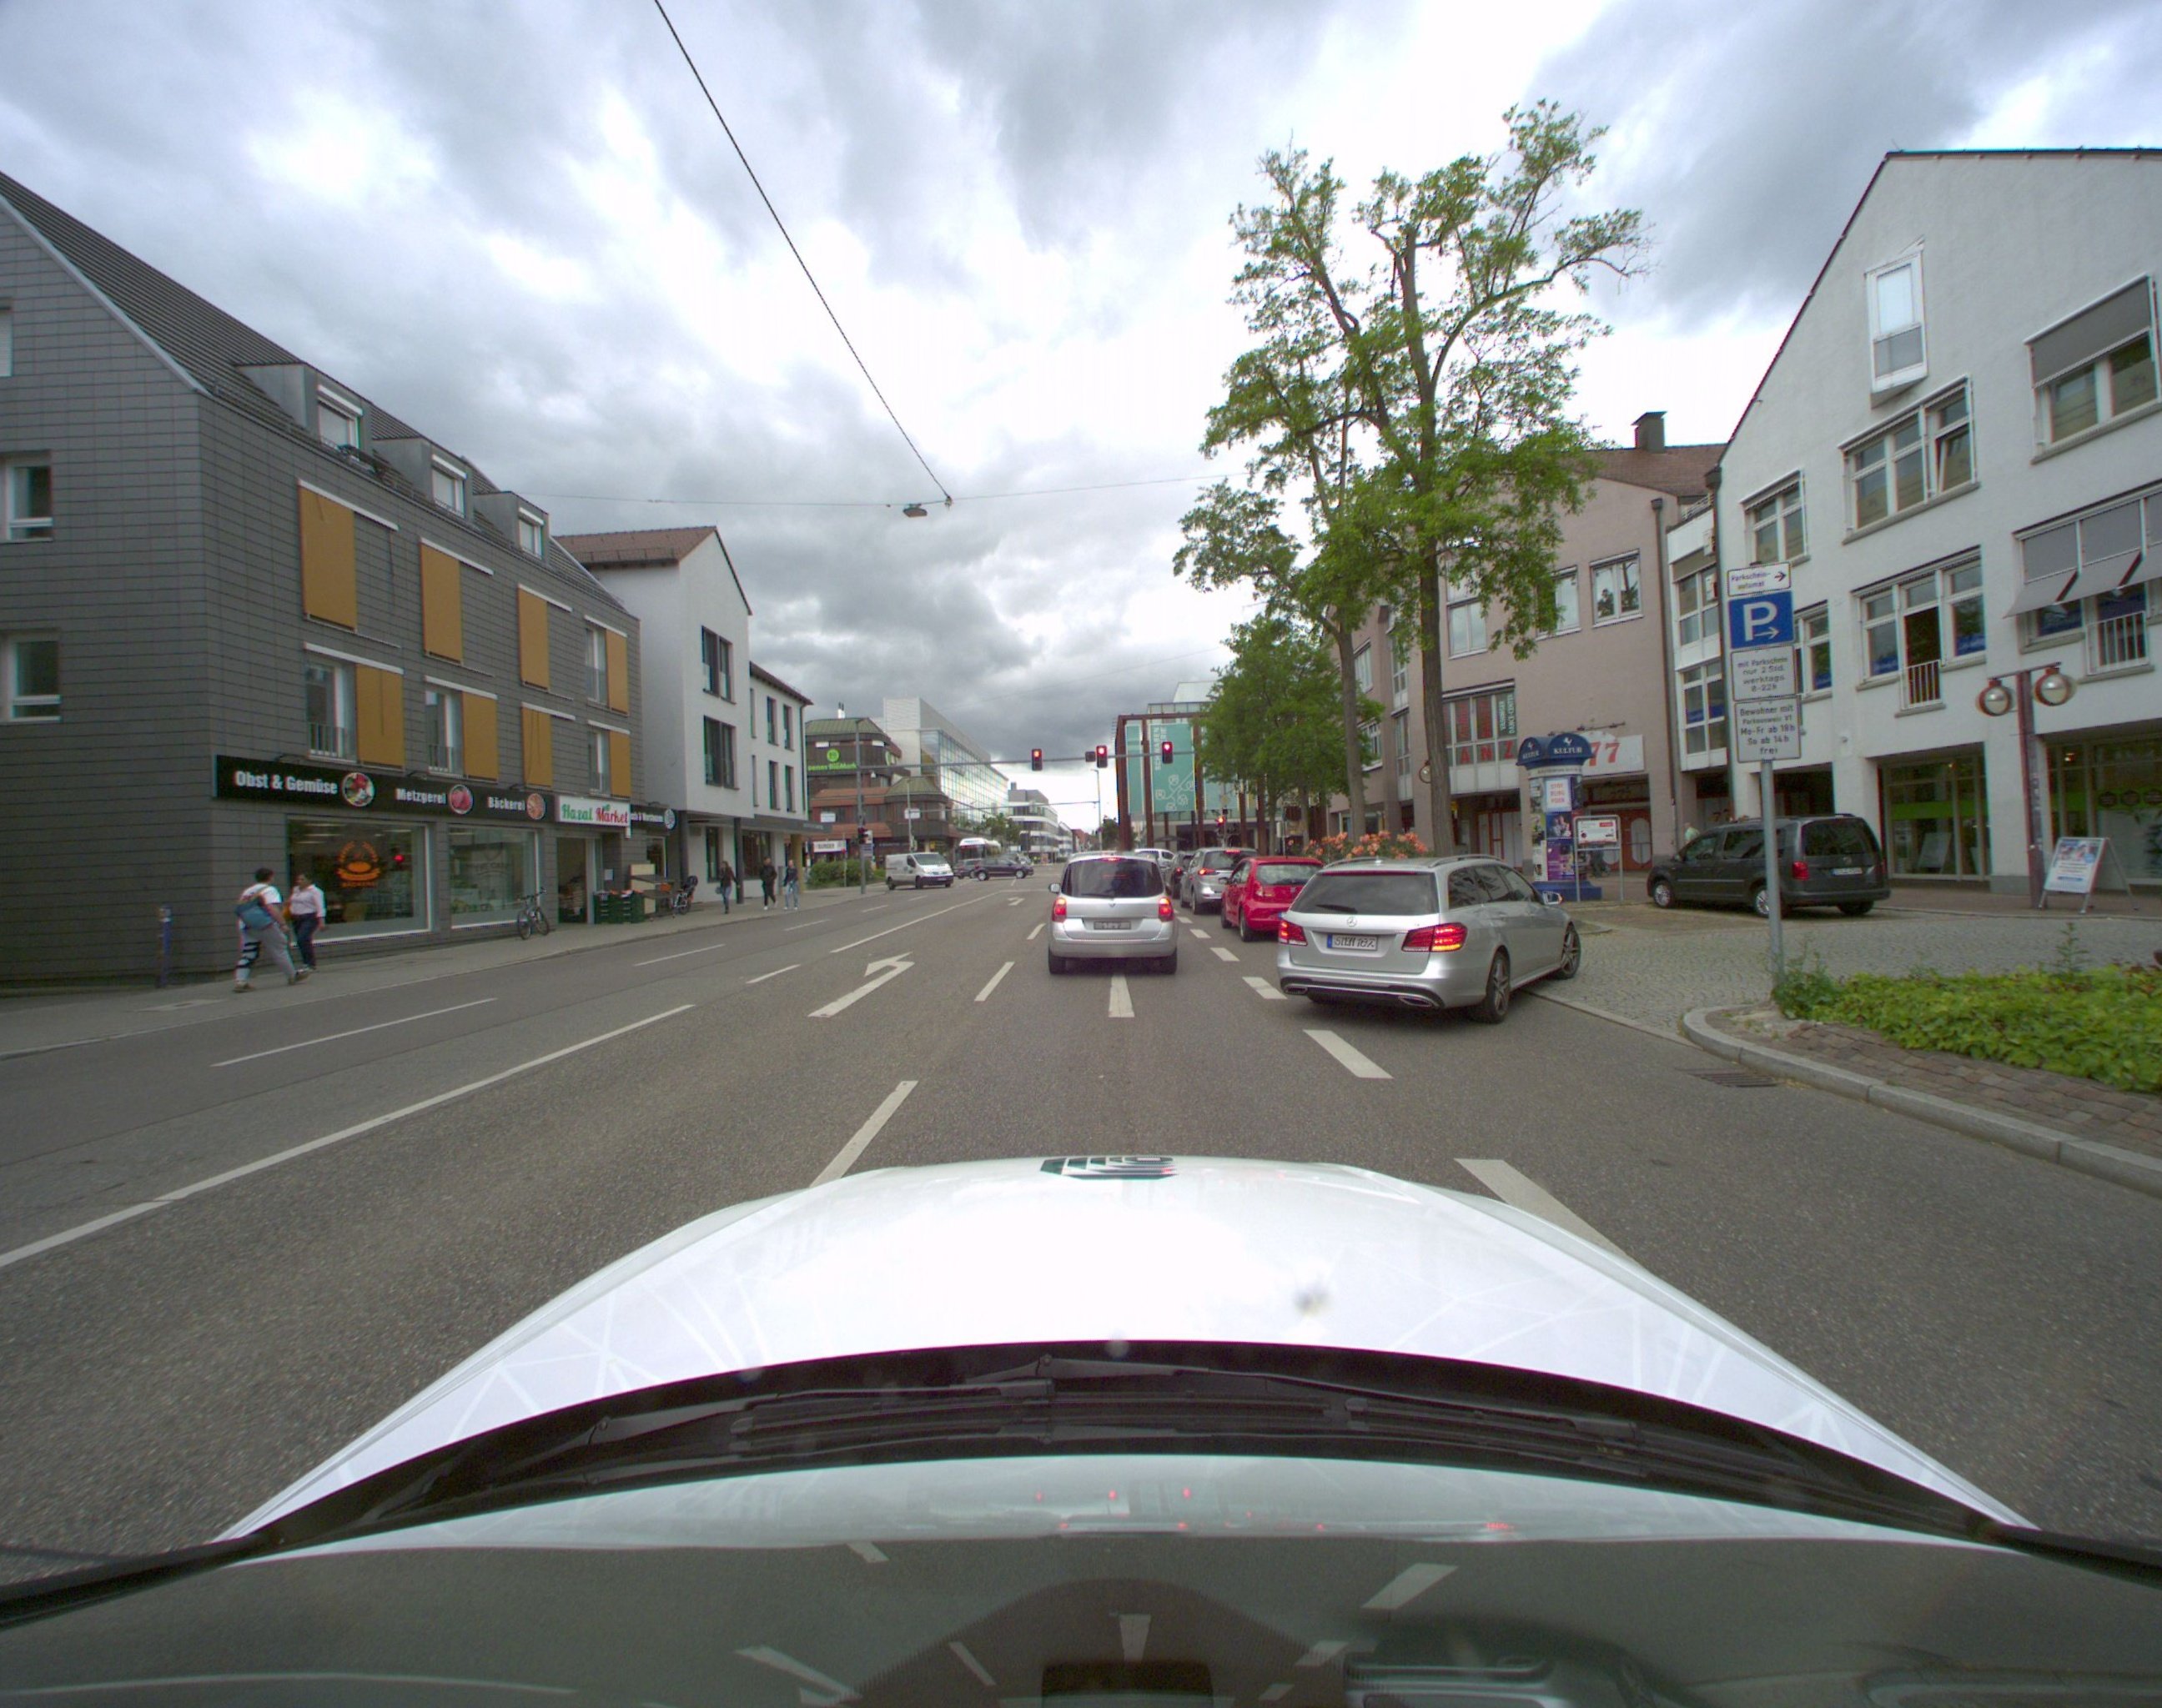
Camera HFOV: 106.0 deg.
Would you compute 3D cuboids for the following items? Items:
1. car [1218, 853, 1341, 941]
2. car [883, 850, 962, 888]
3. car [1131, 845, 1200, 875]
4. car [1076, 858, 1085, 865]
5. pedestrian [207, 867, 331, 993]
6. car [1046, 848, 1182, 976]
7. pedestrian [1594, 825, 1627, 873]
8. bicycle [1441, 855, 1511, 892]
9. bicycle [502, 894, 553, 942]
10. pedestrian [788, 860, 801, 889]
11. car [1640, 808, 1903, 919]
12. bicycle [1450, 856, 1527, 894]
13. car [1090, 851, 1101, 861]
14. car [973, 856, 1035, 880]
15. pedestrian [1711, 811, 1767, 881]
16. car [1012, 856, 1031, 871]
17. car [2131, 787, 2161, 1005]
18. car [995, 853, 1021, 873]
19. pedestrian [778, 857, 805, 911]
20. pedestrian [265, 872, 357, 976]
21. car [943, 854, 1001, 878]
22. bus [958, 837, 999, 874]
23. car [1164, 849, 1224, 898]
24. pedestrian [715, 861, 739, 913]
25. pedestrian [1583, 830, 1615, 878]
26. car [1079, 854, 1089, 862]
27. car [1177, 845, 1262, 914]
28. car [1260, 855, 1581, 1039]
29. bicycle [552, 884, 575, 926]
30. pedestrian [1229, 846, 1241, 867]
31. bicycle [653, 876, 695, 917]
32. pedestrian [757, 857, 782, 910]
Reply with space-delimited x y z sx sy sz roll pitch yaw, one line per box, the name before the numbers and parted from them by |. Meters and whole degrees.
car | 3.572 0.714 15.190 1.580 1.443 3.350 0 0 2
car | -8.773 0.847 44.727 2.010 1.888 5.098 -3 0 -40
car | 5.515 0.381 53.279 4.369 1.773 1.328 -2 0 1
car | -0.100 1.835 200.314 1.793 1.540 4.068 -2 0 3
pedestrian | -11.625 1.055 11.697 0.751 1.705 0.981 1 0 1
car | 0.452 0.701 11.575 1.634 1.527 3.395 -1 0 2
pedestrian | 17.387 -0.166 26.739 0.666 1.563 0.616 -2 0 -28
bicycle | 11.373 0.564 23.477 1.760 0.997 0.447 -2 0 5
bicycle | -12.495 1.422 18.410 0.325 0.954 1.479 -2 0 -9
pedestrian | -17.092 1.212 48.538 0.664 1.649 0.788 -2 0 -20
car | 13.236 0.151 15.979 1.633 1.831 3.963 -3 0 -3
bicycle | 11.455 0.596 22.920 1.892 0.997 0.468 -2 0 5
car | 2.867 0.354 158.673 1.987 1.949 4.951 -2 0 1
car | -5.050 0.897 53.693 3.815 1.389 1.685 -2 0 2
pedestrian | 17.593 -0.207 21.786 0.786 1.793 0.819 -2 0 1
car | -6.093 0.946 83.556 1.550 1.392 3.288 -2 0 1
car | 10.221 0.309 4.872 1.874 1.876 4.605 -3 0 0
car | -6.796 0.809 76.320 1.987 1.706 4.065 -2 0 1
pedestrian | -9.881 1.009 27.804 0.681 1.790 0.647 -2 0 -9
pedestrian | -12.528 1.119 13.275 0.725 1.610 0.753 -2 0 2
car | -8.506 0.919 63.839 1.898 1.677 4.269 -2 0 39
bus | -9.830 0.151 79.002 2.677 3.261 8.654 -2 0 1
car | 3.852 0.630 28.246 1.581 1.595 3.868 0 0 0
pedestrian | -11.427 1.062 26.314 0.654 1.650 0.555 -2 0 -22
pedestrian | 16.775 0.011 26.380 0.613 1.515 0.616 -2 0 -28
car | 0.610 0.778 160.819 1.793 1.540 4.068 -2 0 3
car | 3.524 0.615 21.304 1.581 1.634 3.916 0 0 0
car | 3.809 0.739 8.651 1.798 1.448 4.396 0 0 42
bicycle | -14.483 1.408 22.780 0.389 1.127 1.275 -2 0 -39
pedestrian | 11.999 0.203 63.514 0.652 1.650 0.557 -2 0 -13
bicycle | -12.609 1.298 25.273 0.385 1.186 1.825 -2 0 -1
pedestrian | -10.771 1.007 28.168 0.567 1.775 0.646 -2 0 -2
